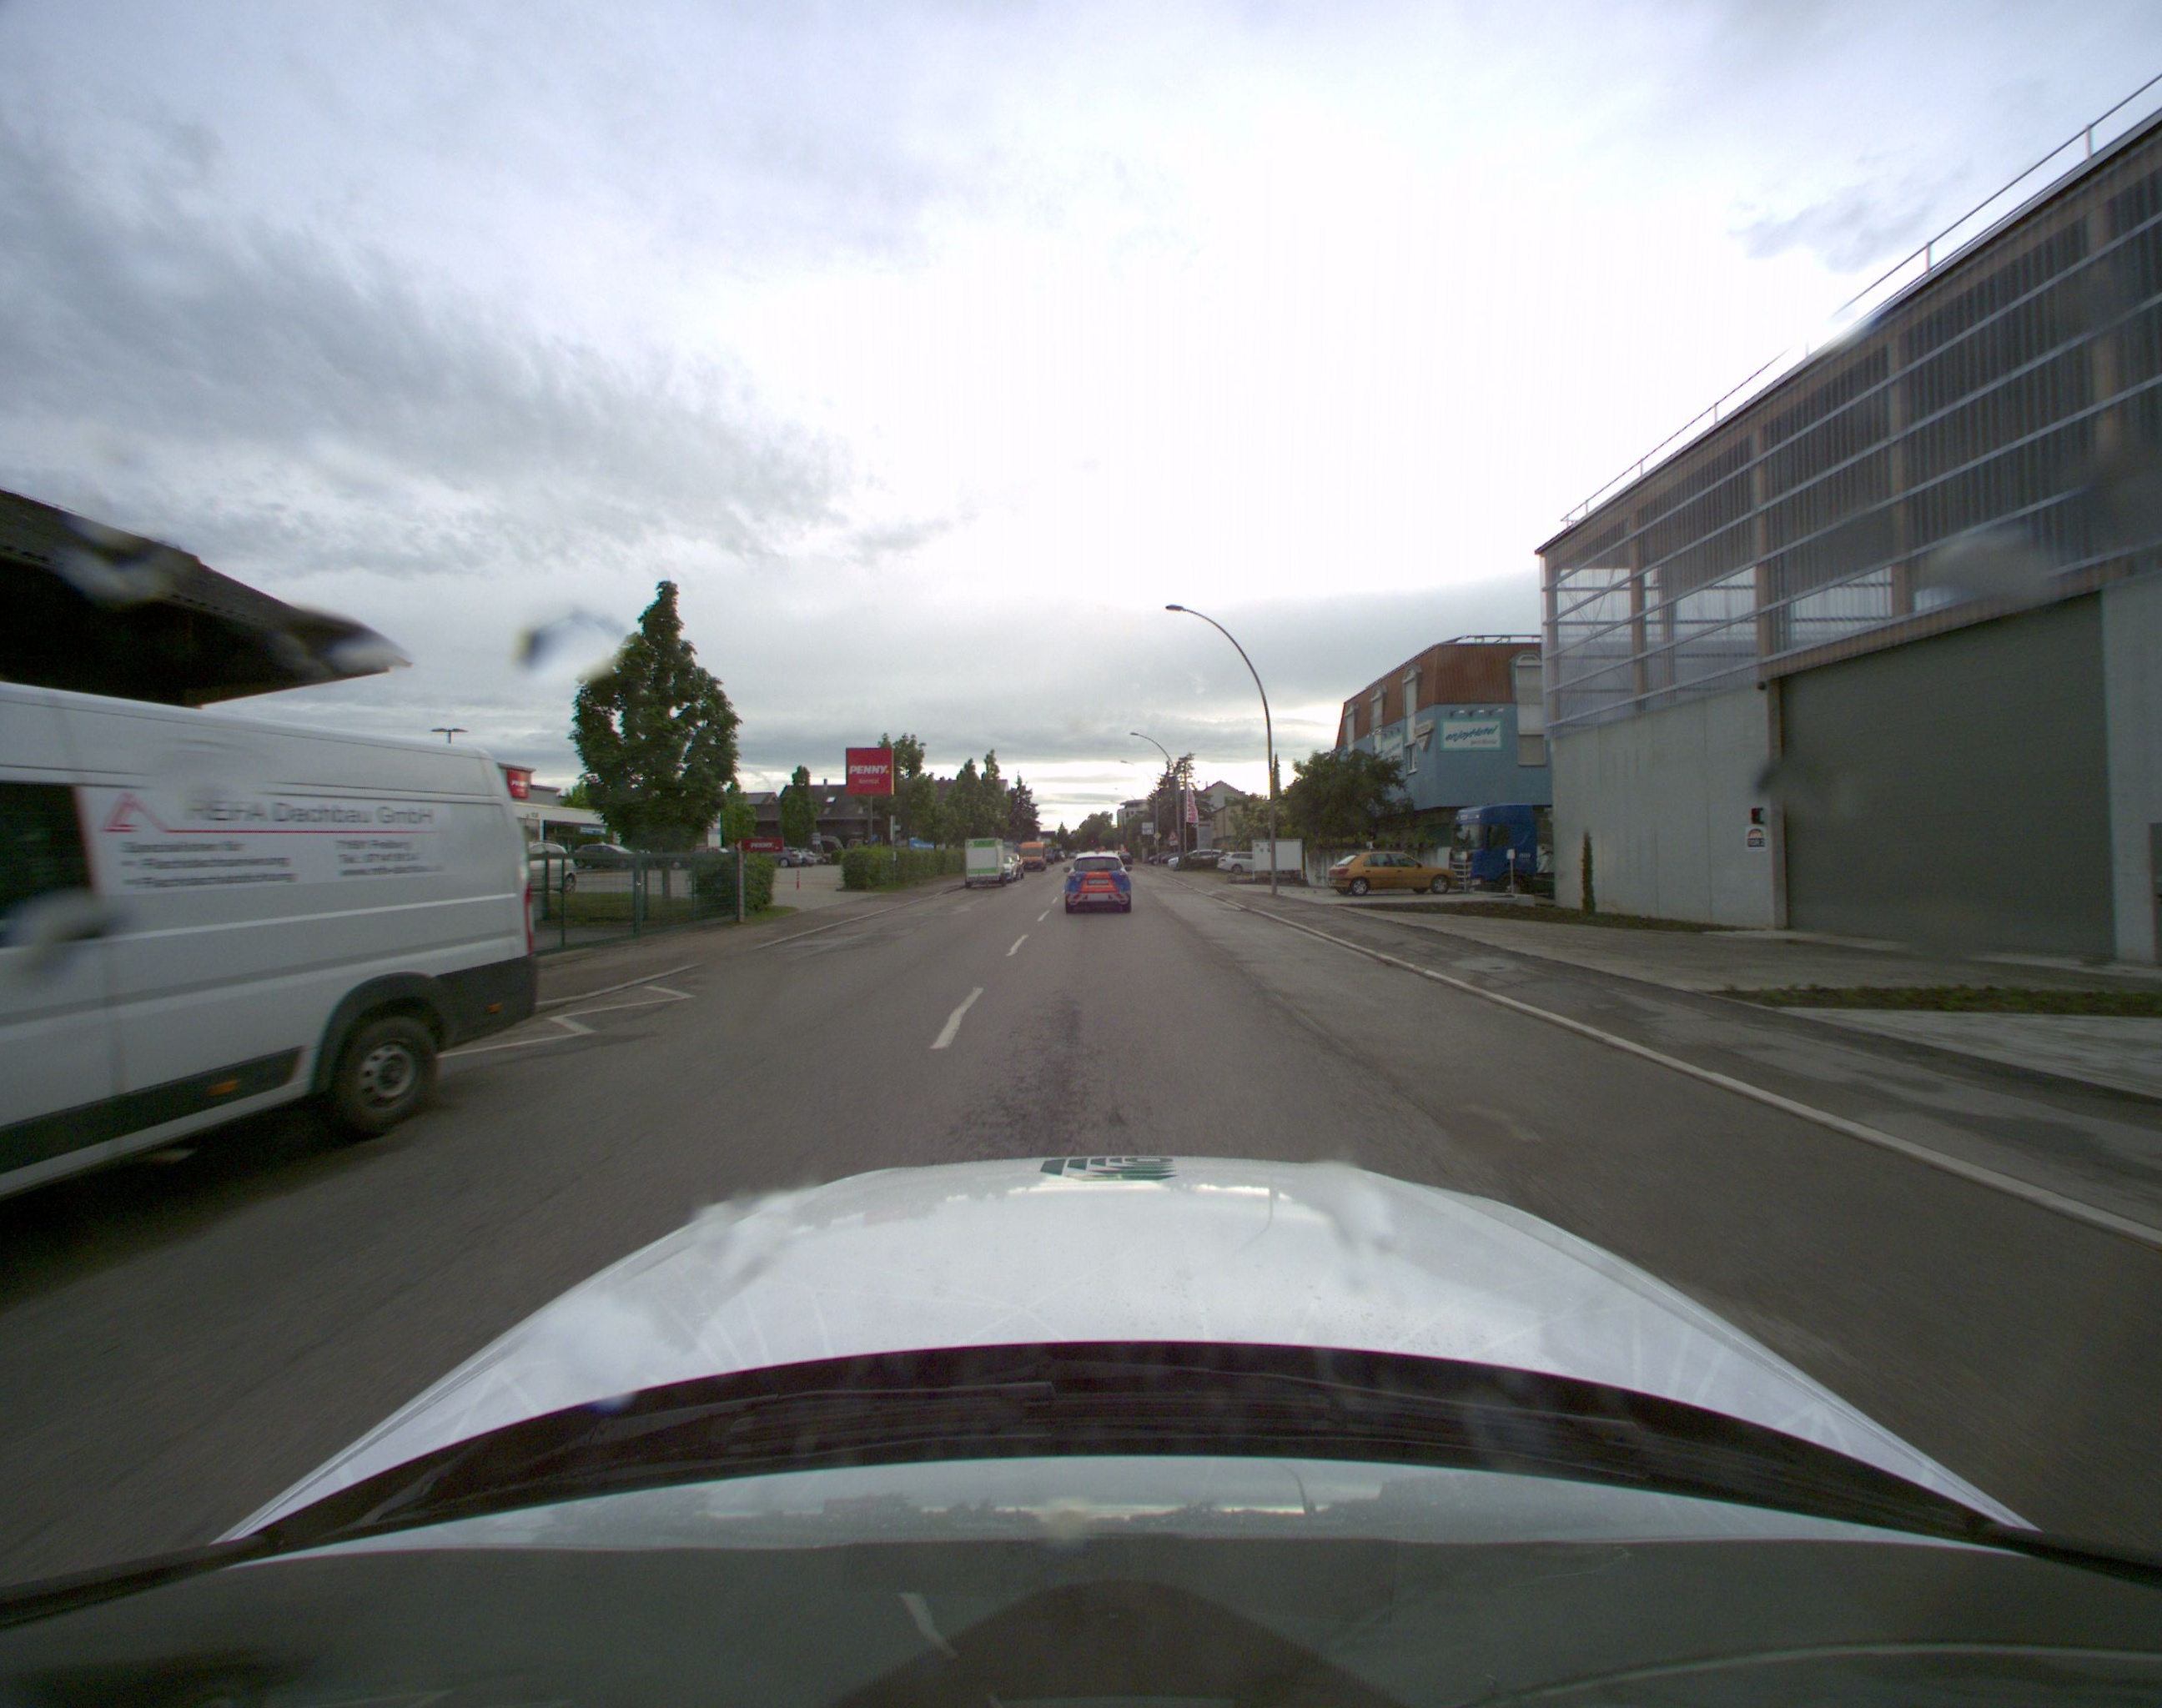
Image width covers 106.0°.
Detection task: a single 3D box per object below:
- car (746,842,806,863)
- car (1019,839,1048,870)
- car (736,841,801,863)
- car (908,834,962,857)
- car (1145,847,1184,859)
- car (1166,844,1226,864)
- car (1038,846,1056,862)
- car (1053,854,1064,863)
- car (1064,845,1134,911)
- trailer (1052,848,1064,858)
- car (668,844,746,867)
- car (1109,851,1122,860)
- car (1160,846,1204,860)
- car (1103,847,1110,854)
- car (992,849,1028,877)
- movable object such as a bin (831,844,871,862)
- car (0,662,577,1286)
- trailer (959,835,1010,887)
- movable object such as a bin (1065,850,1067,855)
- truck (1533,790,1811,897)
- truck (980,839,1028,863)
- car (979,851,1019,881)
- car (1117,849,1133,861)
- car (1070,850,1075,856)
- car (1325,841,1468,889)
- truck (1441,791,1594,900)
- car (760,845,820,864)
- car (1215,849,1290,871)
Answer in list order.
[{"bbox_3d":[-23.288,-0.102,62.265,3.882,1.520,1.692,0,0,-4],"label":"car"},{"bbox_3d":[-4.043,0.046,70.529,2.118,2.537,6.021,-1,1,0],"label":"car"},{"bbox_3d":[-22.867,-0.119,59.656,4.046,1.551,1.883,0,0,-4],"label":"car"},{"bbox_3d":[-12.859,-0.717,71.853,4.291,2.013,2.063,0,0,0],"label":"car"},{"bbox_3d":[8.897,-0.130,87.465,3.975,1.266,1.950,0,0,-1],"label":"car"},{"bbox_3d":[8.786,-0.004,62.589,4.324,1.475,1.902,0,0,-1],"label":"car"},{"bbox_3d":[-4.274,0.025,102.009,1.987,1.947,5.365,0,0,0],"label":"car"},{"bbox_3d":[-3.471,0.746,127.526,1.552,1.433,4.000,0,0,1],"label":"car"},{"bbox_3d":[0.448,0.595,22.099,1.726,1.630,3.494,-1,0,0],"label":"car"},{"bbox_3d":[-3.405,-0.140,119.886,1.712,1.260,5.243,0,2,-1],"label":"trailer"},{"bbox_3d":[-22.846,0.075,49.850,3.969,1.387,1.801,0,0,-4],"label":"car"},{"bbox_3d":[5.312,0.248,124.694,1.707,1.438,4.523,0,0,-2],"label":"car"},{"bbox_3d":[9.384,-0.071,75.786,3.971,1.266,1.952,0,0,2],"label":"car"},{"bbox_3d":[6.142,-0.743,195.161,1.645,1.671,3.998,0,0,-1],"label":"car"},{"bbox_3d":[-4.388,0.524,51.029,1.799,1.573,4.342,-2,1,0],"label":"car"},{"bbox_3d":[-22.851,-0.055,81.024,3.417,1.759,1.996,0,0,-6],"label":"movable object such as a bin"},{"bbox_3d":[-5.295,0.521,3.371,2.150,2.427,6.460,-4,0,1],"label":"car"},{"bbox_3d":[-4.677,0.281,40.174,1.807,2.313,4.730,-3,0,0],"label":"trailer"},{"bbox_3d":[-3.472,-0.319,190.931,0.577,1.204,0.318,0,0,0],"label":"movable object such as a bin"},{"bbox_3d":[21.738,-0.363,30.247,8.511,3.707,2.721,1,0,-2],"label":"truck"},{"bbox_3d":[-9.903,-0.402,105.274,5.890,3.073,2.450,0,0,1],"label":"truck"},{"bbox_3d":[-4.549,0.646,45.451,1.766,1.498,4.137,-1,1,0],"label":"car"},{"bbox_3d":[4.996,0.056,92.763,1.585,1.341,4.091,0,0,-1],"label":"car"},{"bbox_3d":[-2.184,-0.330,205.925,1.382,1.483,3.782,-1,0,-1],"label":"car"},{"bbox_3d":[10.079,0.338,26.201,3.975,1.430,1.630,-1,0,-1],"label":"car"},{"bbox_3d":[15.997,-0.284,30.063,4.133,3.673,2.718,2,0,-2],"label":"truck"},{"bbox_3d":[-23.121,0.012,64.757,4.038,1.477,1.919,0,0,2],"label":"car"},{"bbox_3d":[10.898,0.388,52.049,4.401,1.393,1.879,0,0,-1],"label":"car"}]
